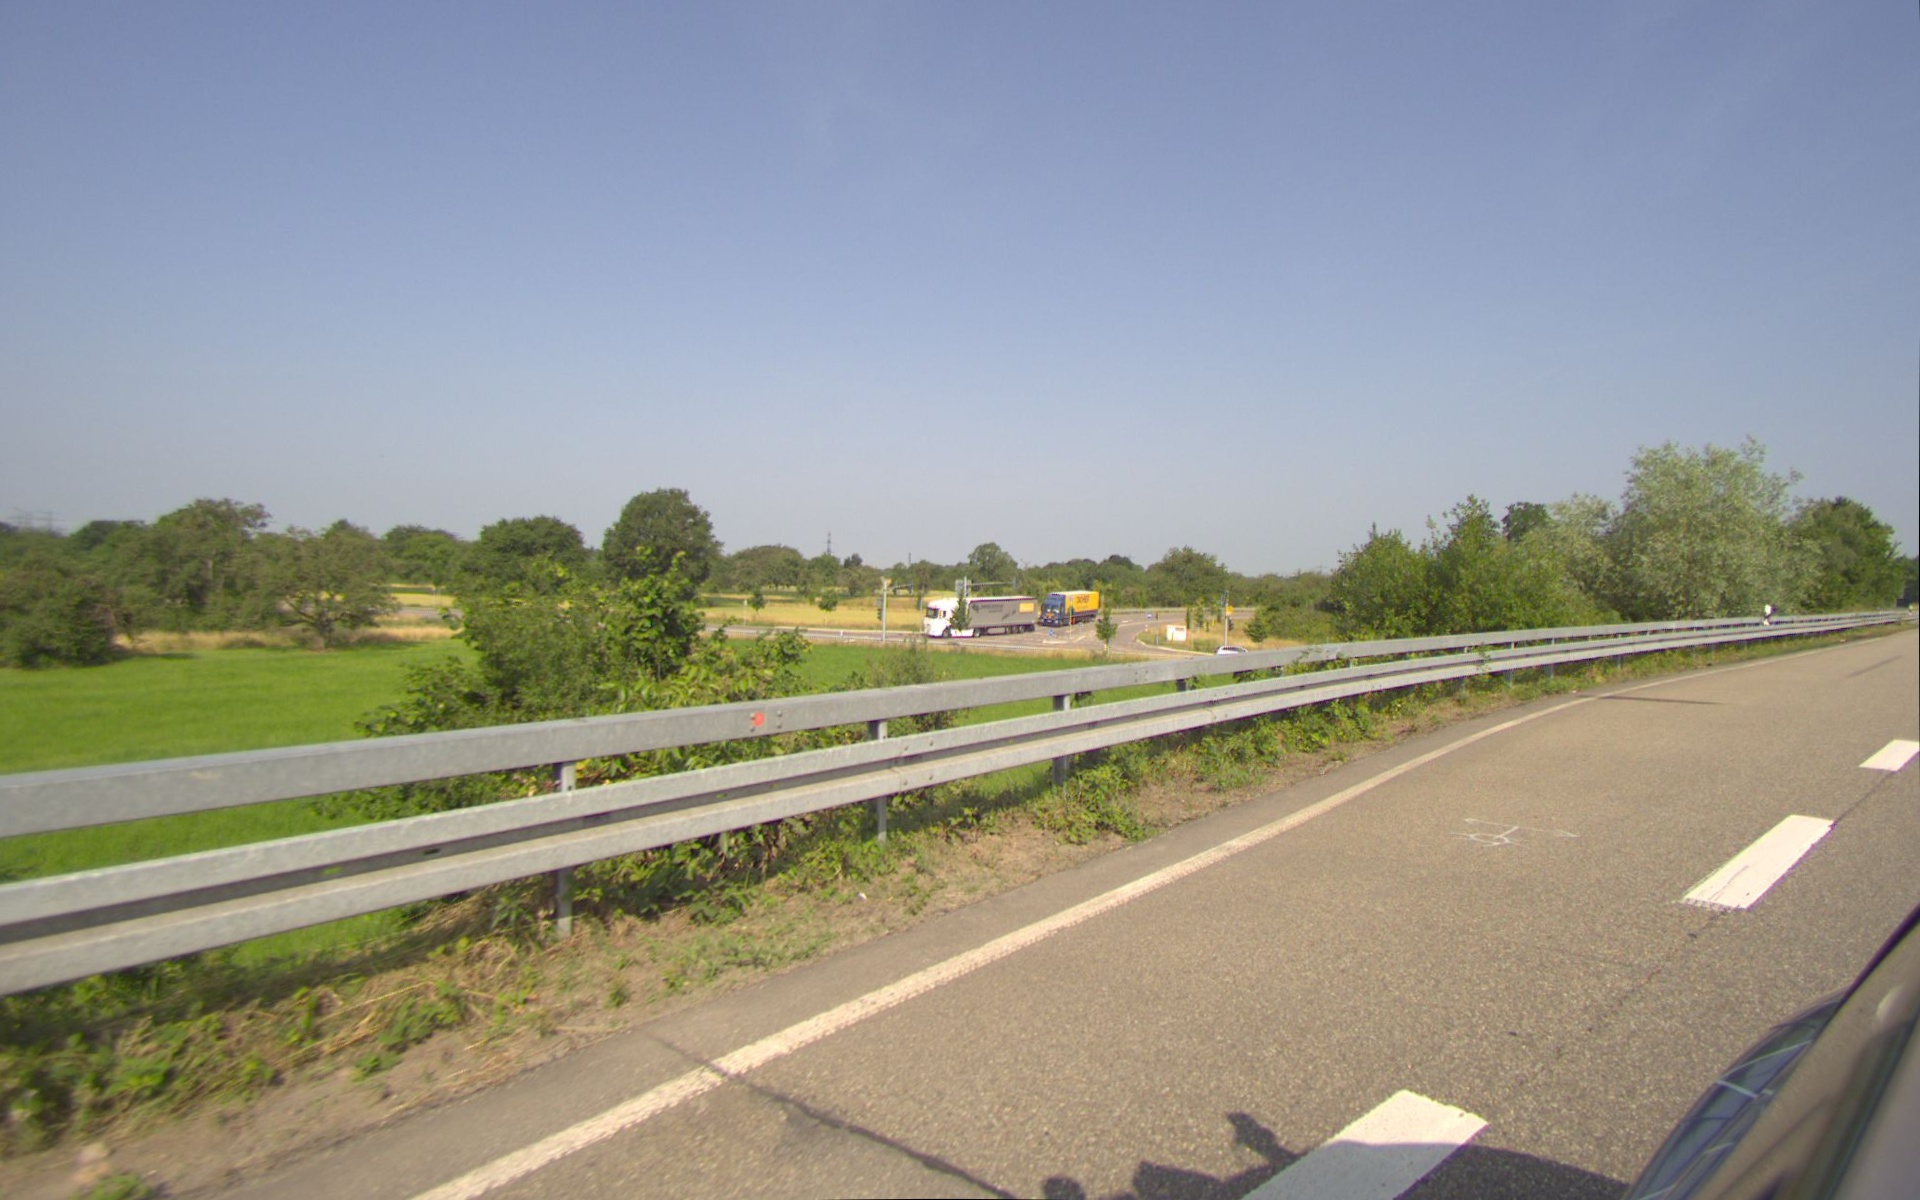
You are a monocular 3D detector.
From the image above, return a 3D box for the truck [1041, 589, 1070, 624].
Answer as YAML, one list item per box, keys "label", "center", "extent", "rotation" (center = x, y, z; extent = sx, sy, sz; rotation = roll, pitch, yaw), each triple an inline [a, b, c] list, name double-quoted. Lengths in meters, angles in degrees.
- label: "truck"
  center: [11.933, 0.795, 126.727]
  extent: [2.238, 4.221, 4.334]
  rotation: [2, 1, 25]

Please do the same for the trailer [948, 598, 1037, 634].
- label: "trailer"
  center: [3.791, 1.650, 110.845]
  extent: [2.097, 3.698, 13.741]
  rotation: [1, 0, 37]

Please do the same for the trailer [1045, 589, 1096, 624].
- label: "trailer"
  center: [14.643, 0.729, 132.711]
  extent: [2.238, 4.221, 14.303]
  rotation: [2, 1, 24]

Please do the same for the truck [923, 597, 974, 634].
- label: "truck"
  center: [-1.169, 1.623, 105.690]
  extent: [4.839, 3.724, 2.112]
  rotation: [1, 0, -23]
